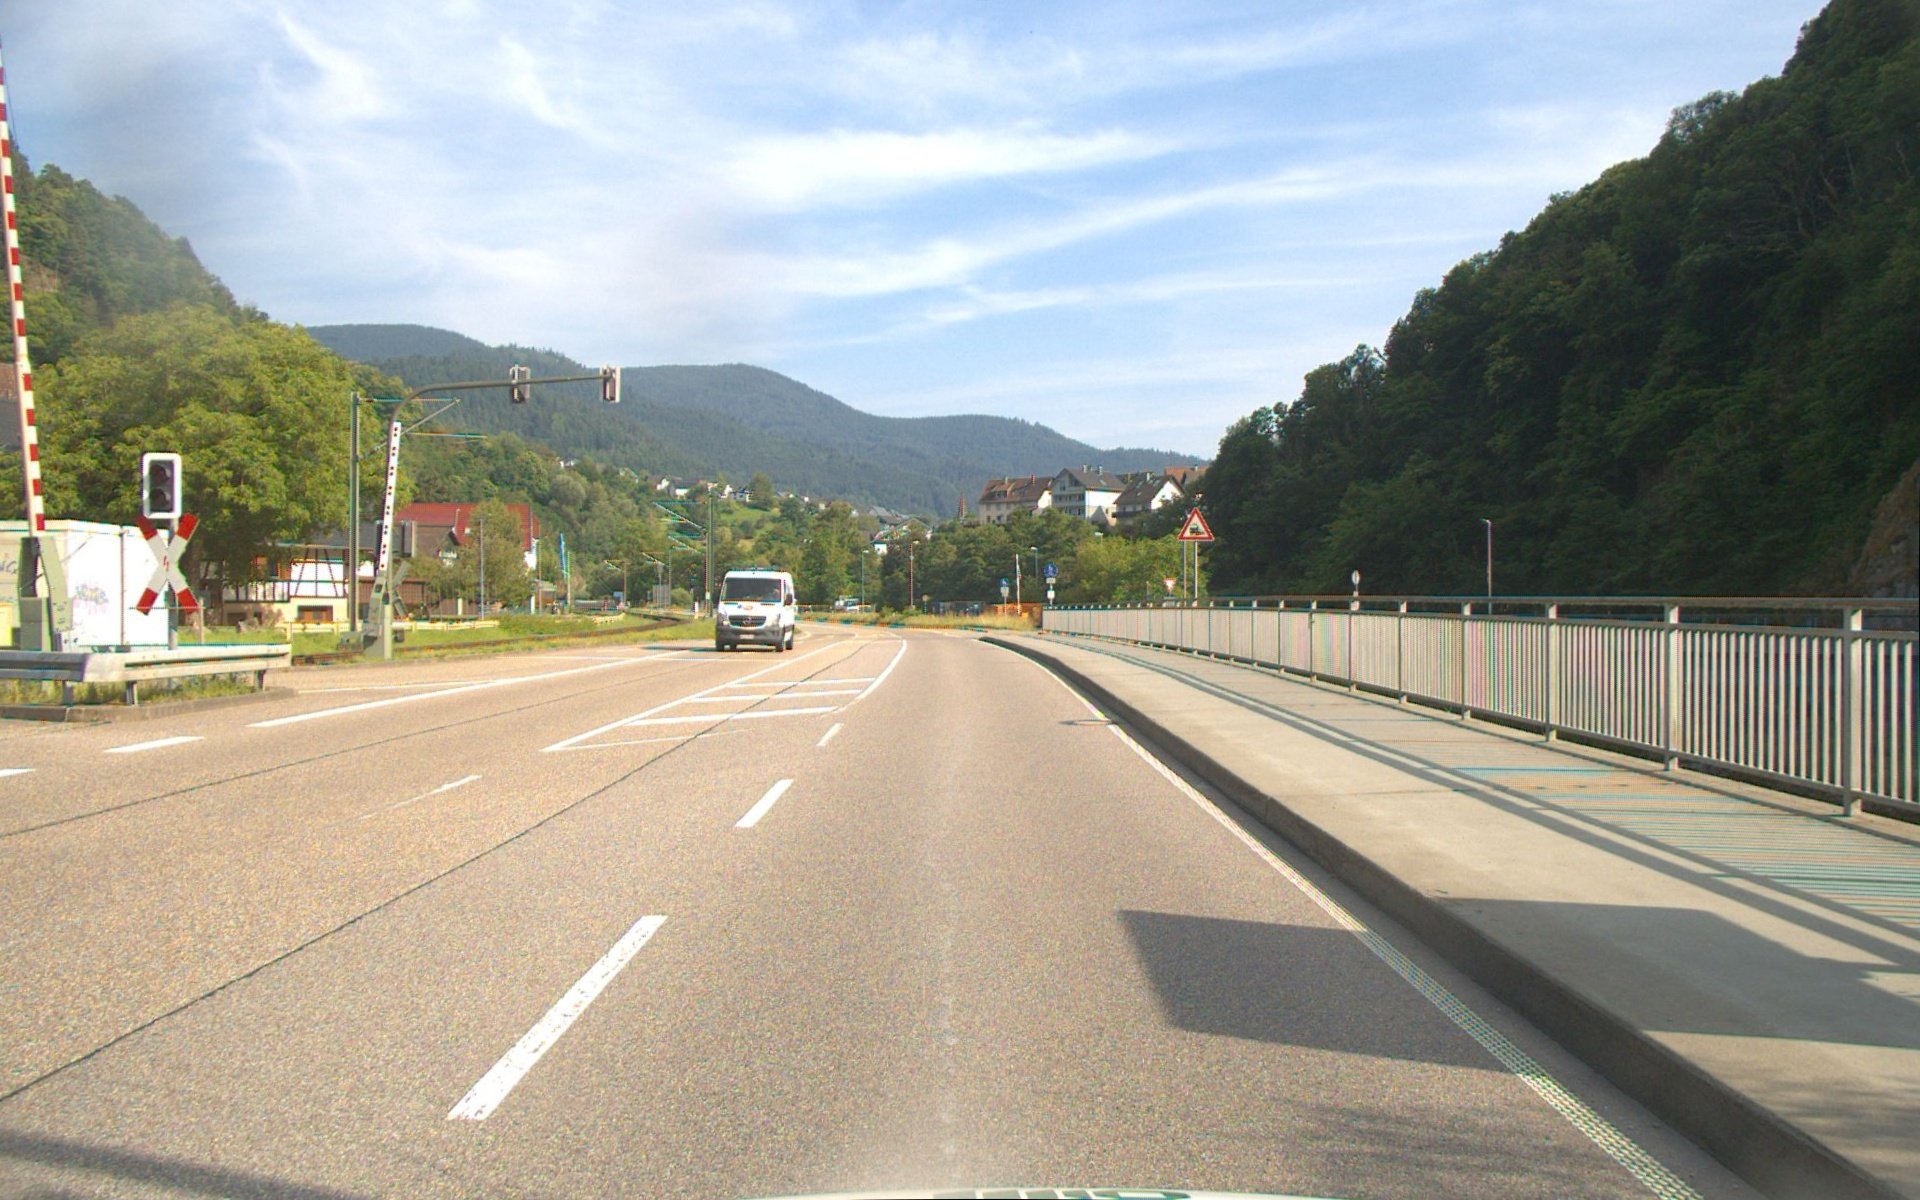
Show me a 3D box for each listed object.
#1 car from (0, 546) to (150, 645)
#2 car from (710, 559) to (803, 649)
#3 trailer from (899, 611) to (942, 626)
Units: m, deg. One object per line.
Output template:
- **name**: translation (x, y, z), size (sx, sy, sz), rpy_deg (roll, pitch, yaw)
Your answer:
- **car**: translation (-25.597, -0.153, 43.861), size (6.913, 2.500, 2.951), rpy_deg (1, 0, 8)
- **car**: translation (-5.925, 0.109, 48.826), size (2.076, 2.479, 5.227), rpy_deg (1, 0, 0)
- **trailer**: translation (-4.281, 1.946, 177.448), size (2.743, 1.500, 9.854), rpy_deg (2, -1, -13)
